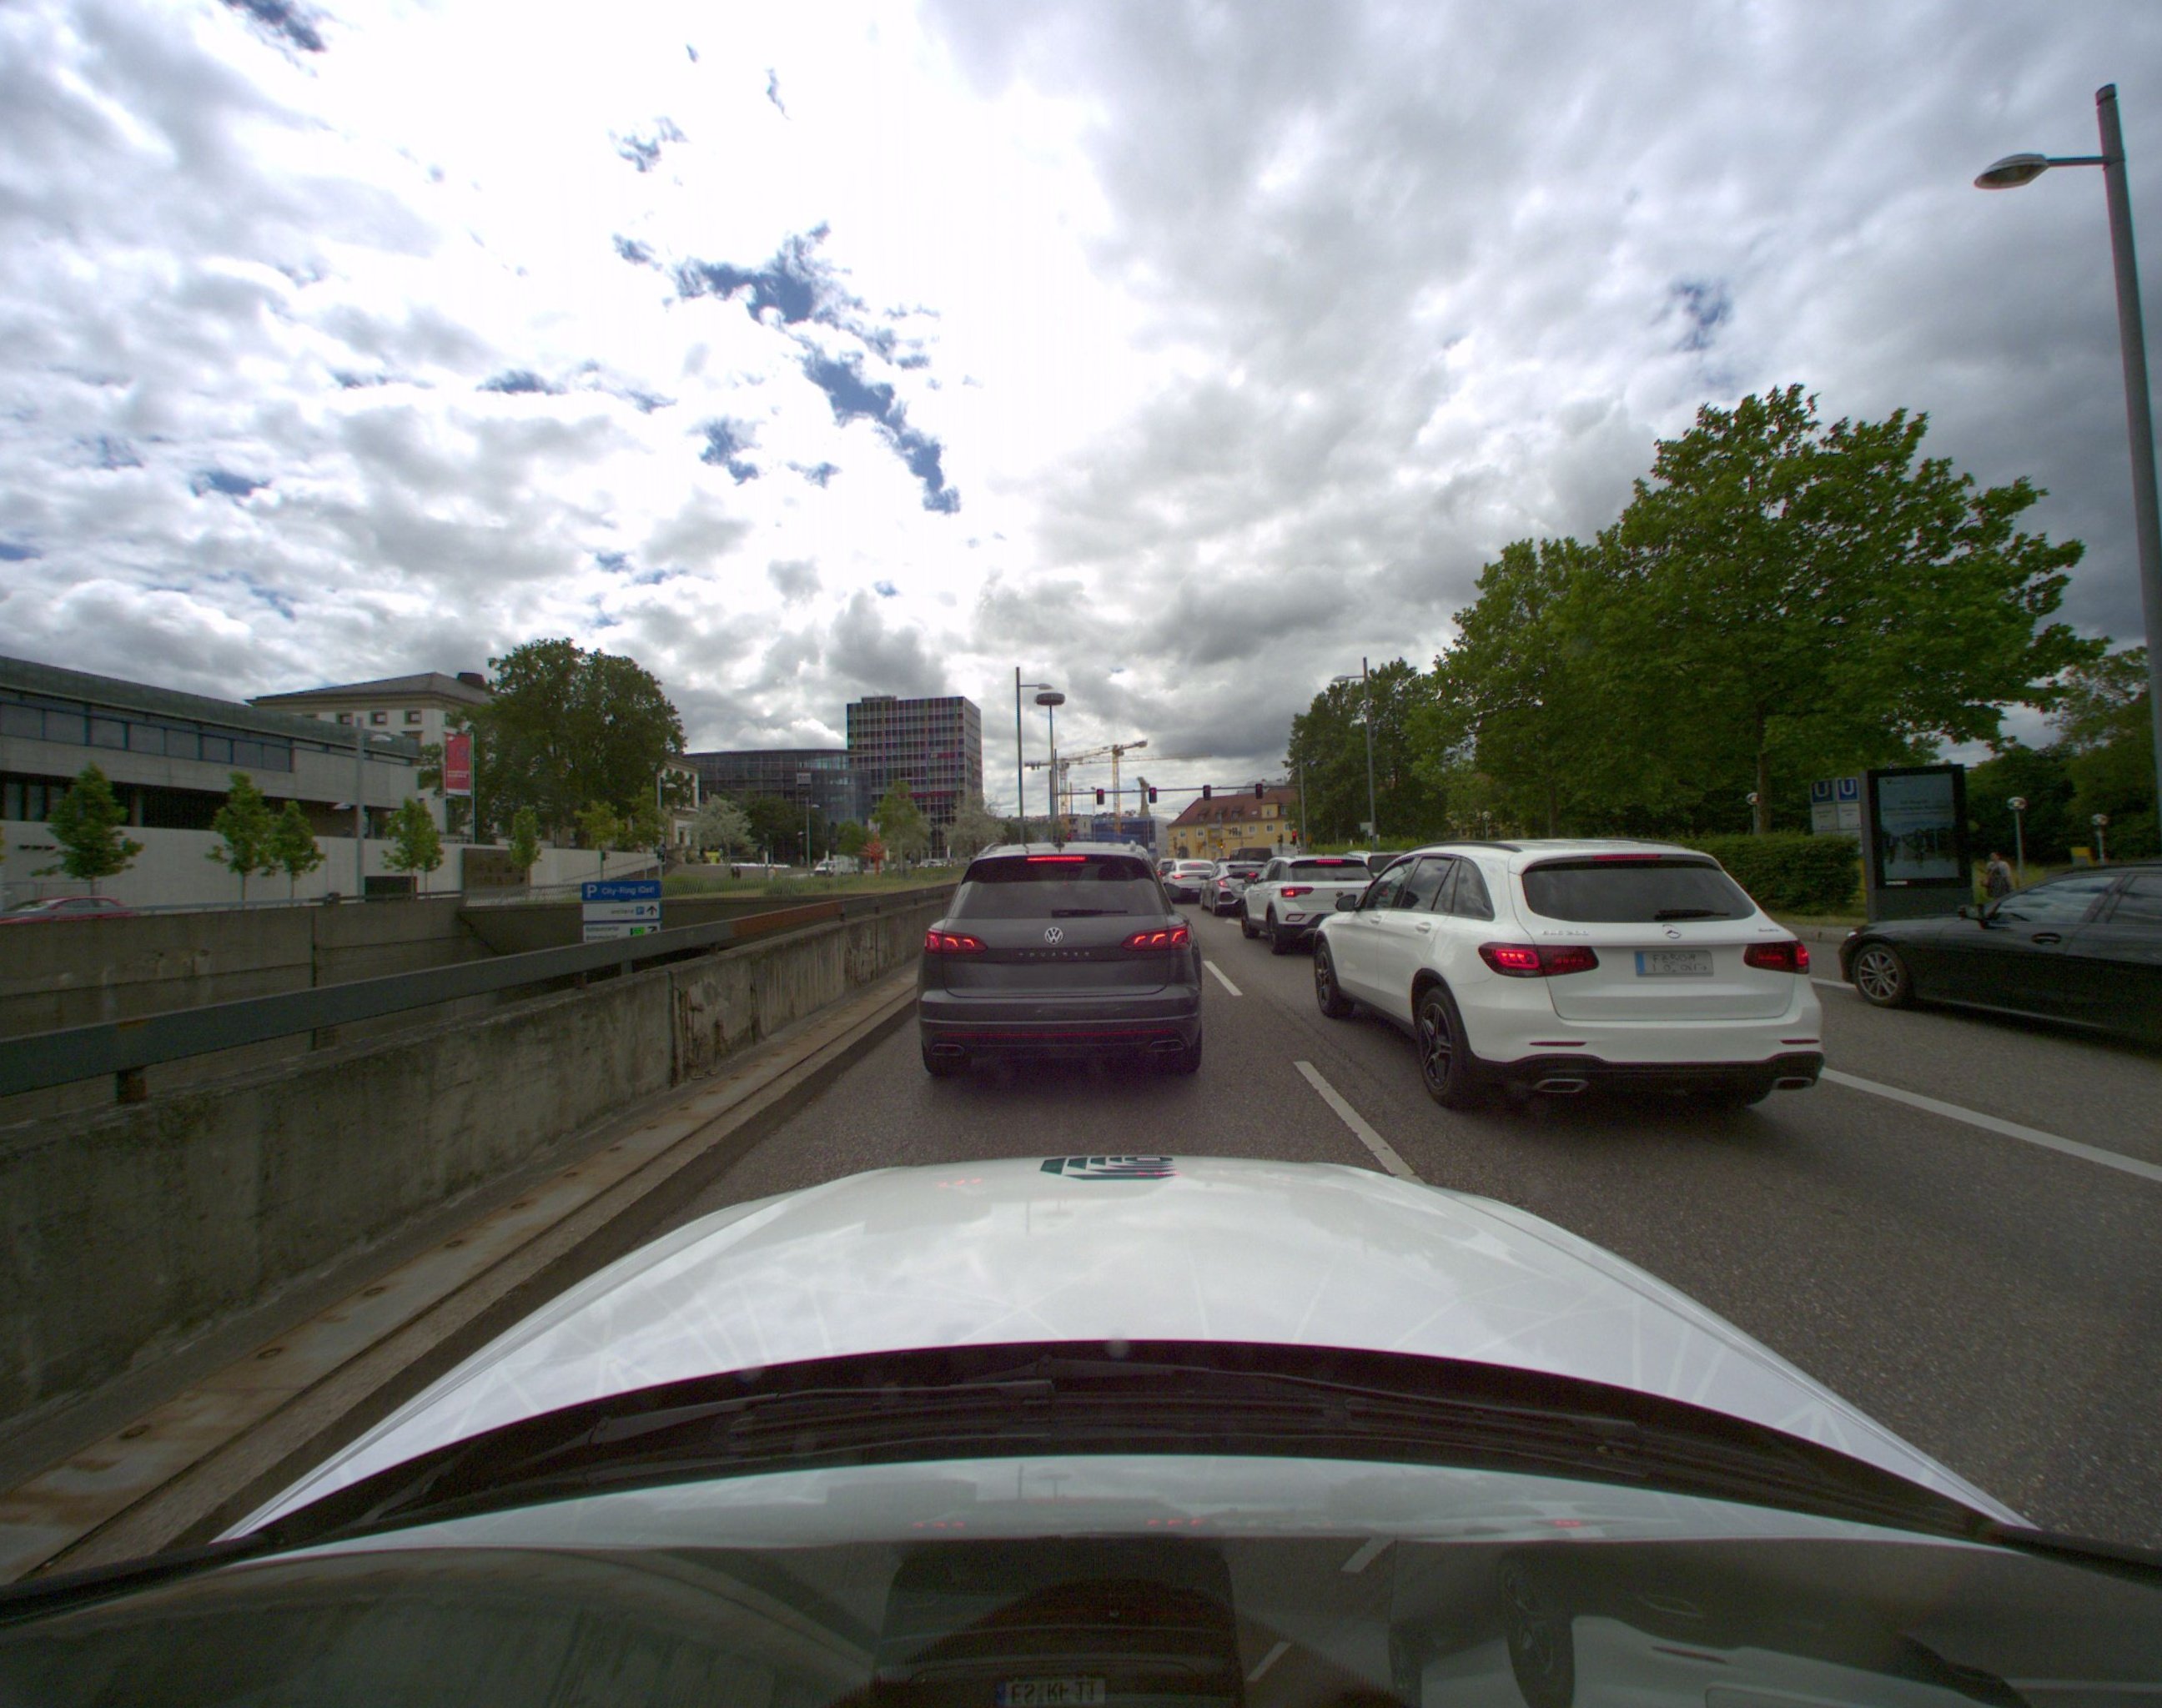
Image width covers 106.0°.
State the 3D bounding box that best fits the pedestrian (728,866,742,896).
[{"bbox_3d":[-23.617,1.852,55.597,0.794,2.013,0.830,-2,0,-26],"label":"pedestrian"}]

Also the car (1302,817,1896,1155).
[{"bbox_3d":[3.171,0.643,6.295,1.918,1.653,4.493,-1,0,3],"label":"car"}]

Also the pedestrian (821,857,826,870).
[{"bbox_3d":[-41.844,1.507,132.347,0.740,2.013,0.788,-2,1,-18],"label":"pedestrian"}]

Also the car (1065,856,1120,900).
[{"bbox_3d":[0.464,0.870,31.148,1.944,1.600,3.932,0,0,1],"label":"car"}]

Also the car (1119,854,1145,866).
[{"bbox_3d":[8.615,1.055,137.173,3.949,2.014,1.947,-1,-2,43],"label":"car"}]

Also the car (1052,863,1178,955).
[{"bbox_3d":[0.581,0.863,14.480,1.944,1.384,3.932,0,0,1],"label":"car"}]

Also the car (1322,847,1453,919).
[{"bbox_3d":[7.773,0.674,21.134,1.985,1.640,4.309,-1,0,4],"label":"car"}]

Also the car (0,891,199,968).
[{"bbox_3d":[-29.939,2.156,24.206,2.166,1.854,4.738,-2,0,2],"label":"car"}]

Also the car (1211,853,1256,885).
[{"bbox_3d":[8.331,0.802,44.736,1.902,1.697,4.014,0,-1,3],"label":"car"}]

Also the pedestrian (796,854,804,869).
[{"bbox_3d":[-40.089,1.082,116.220,0.737,2.013,1.113,-2,1,-3],"label":"pedestrian"}]

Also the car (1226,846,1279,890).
[{"bbox_3d":[8.171,0.671,39.122,1.902,2.014,4.014,0,-1,3],"label":"car"}]

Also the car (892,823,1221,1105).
[{"bbox_3d":[-0.094,0.677,6.932,1.944,1.651,4.001,-2,0,1],"label":"car"}]

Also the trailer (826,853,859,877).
[{"bbox_3d":[-27.919,1.265,95.510,2.030,2.604,5.511,0,0,2],"label":"trailer"}]

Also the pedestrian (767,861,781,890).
[{"bbox_3d":[-22.629,1.576,59.964,0.729,2.012,0.628,-2,4,-6],"label":"pedestrian"}]

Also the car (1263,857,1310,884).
[{"bbox_3d":[11.482,0.908,45.749,1.751,1.447,3.633,0,-1,1],"label":"car"}]

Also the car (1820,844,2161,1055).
[{"bbox_3d":[8.561,0.676,6.345,1.921,1.460,4.536,0,-1,8],"label":"car"}]

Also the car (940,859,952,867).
[{"bbox_3d":[-25.037,1.731,150.993,1.727,1.495,3.594,0,-2,0],"label":"car"}]

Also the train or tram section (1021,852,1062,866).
[{"bbox_3d":[-8.714,1.097,177.226,8.836,3.010,2.612,-1,-2,30],"label":"train or tram section"}]

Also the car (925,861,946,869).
[{"bbox_3d":[-29.436,2.186,164.809,4.173,1.603,1.764,-1,-2,38],"label":"car"}]

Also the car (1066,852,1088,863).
[{"bbox_3d":[-0.847,0.739,169.978,4.402,2.014,2.012,-1,-2,36],"label":"car"}]

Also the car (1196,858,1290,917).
[{"bbox_3d":[4.309,0.855,22.322,1.918,1.432,4.493,-1,-1,3],"label":"car"}]

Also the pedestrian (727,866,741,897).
[{"bbox_3d":[-23.337,1.831,54.801,0.794,2.013,0.830,-2,0,-26],"label":"pedestrian"}]

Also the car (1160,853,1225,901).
[{"bbox_3d":[3.895,0.792,29.063,1.918,1.529,4.493,-1,-1,3],"label":"car"}]

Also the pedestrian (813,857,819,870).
[{"bbox_3d":[-42.373,1.449,130.206,0.735,2.013,0.793,-2,1,2],"label":"pedestrian"}]

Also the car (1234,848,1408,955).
[{"bbox_3d":[3.939,0.734,14.193,1.918,1.551,4.493,-1,-1,3],"label":"car"}]

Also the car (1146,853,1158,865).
[{"bbox_3d":[9.698,0.710,111.435,1.612,1.627,4.002,0,-2,3],"label":"car"}]

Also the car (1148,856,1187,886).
[{"bbox_3d":[4.645,0.911,44.163,1.918,1.529,4.050,-1,-1,3],"label":"car"}]

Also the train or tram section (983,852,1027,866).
[{"bbox_3d":[-17.002,1.183,181.999,10.296,3.010,2.612,-1,-2,30],"label":"train or tram section"}]

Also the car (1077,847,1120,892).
[{"bbox_3d":[0.864,0.701,38.806,1.944,2.018,3.932,0,0,1],"label":"car"}]

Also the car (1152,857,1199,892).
[{"bbox_3d":[4.328,0.926,37.878,1.918,1.529,4.050,-1,-1,3],"label":"car"}]

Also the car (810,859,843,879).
[{"bbox_3d":[-28.190,1.594,90.408,1.985,2.013,4.695,-2,1,3],"label":"car"}]

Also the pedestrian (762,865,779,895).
[{"bbox_3d":[-21.208,1.779,55.686,0.851,2.013,0.633,-2,1,31],"label":"pedestrian"}]
